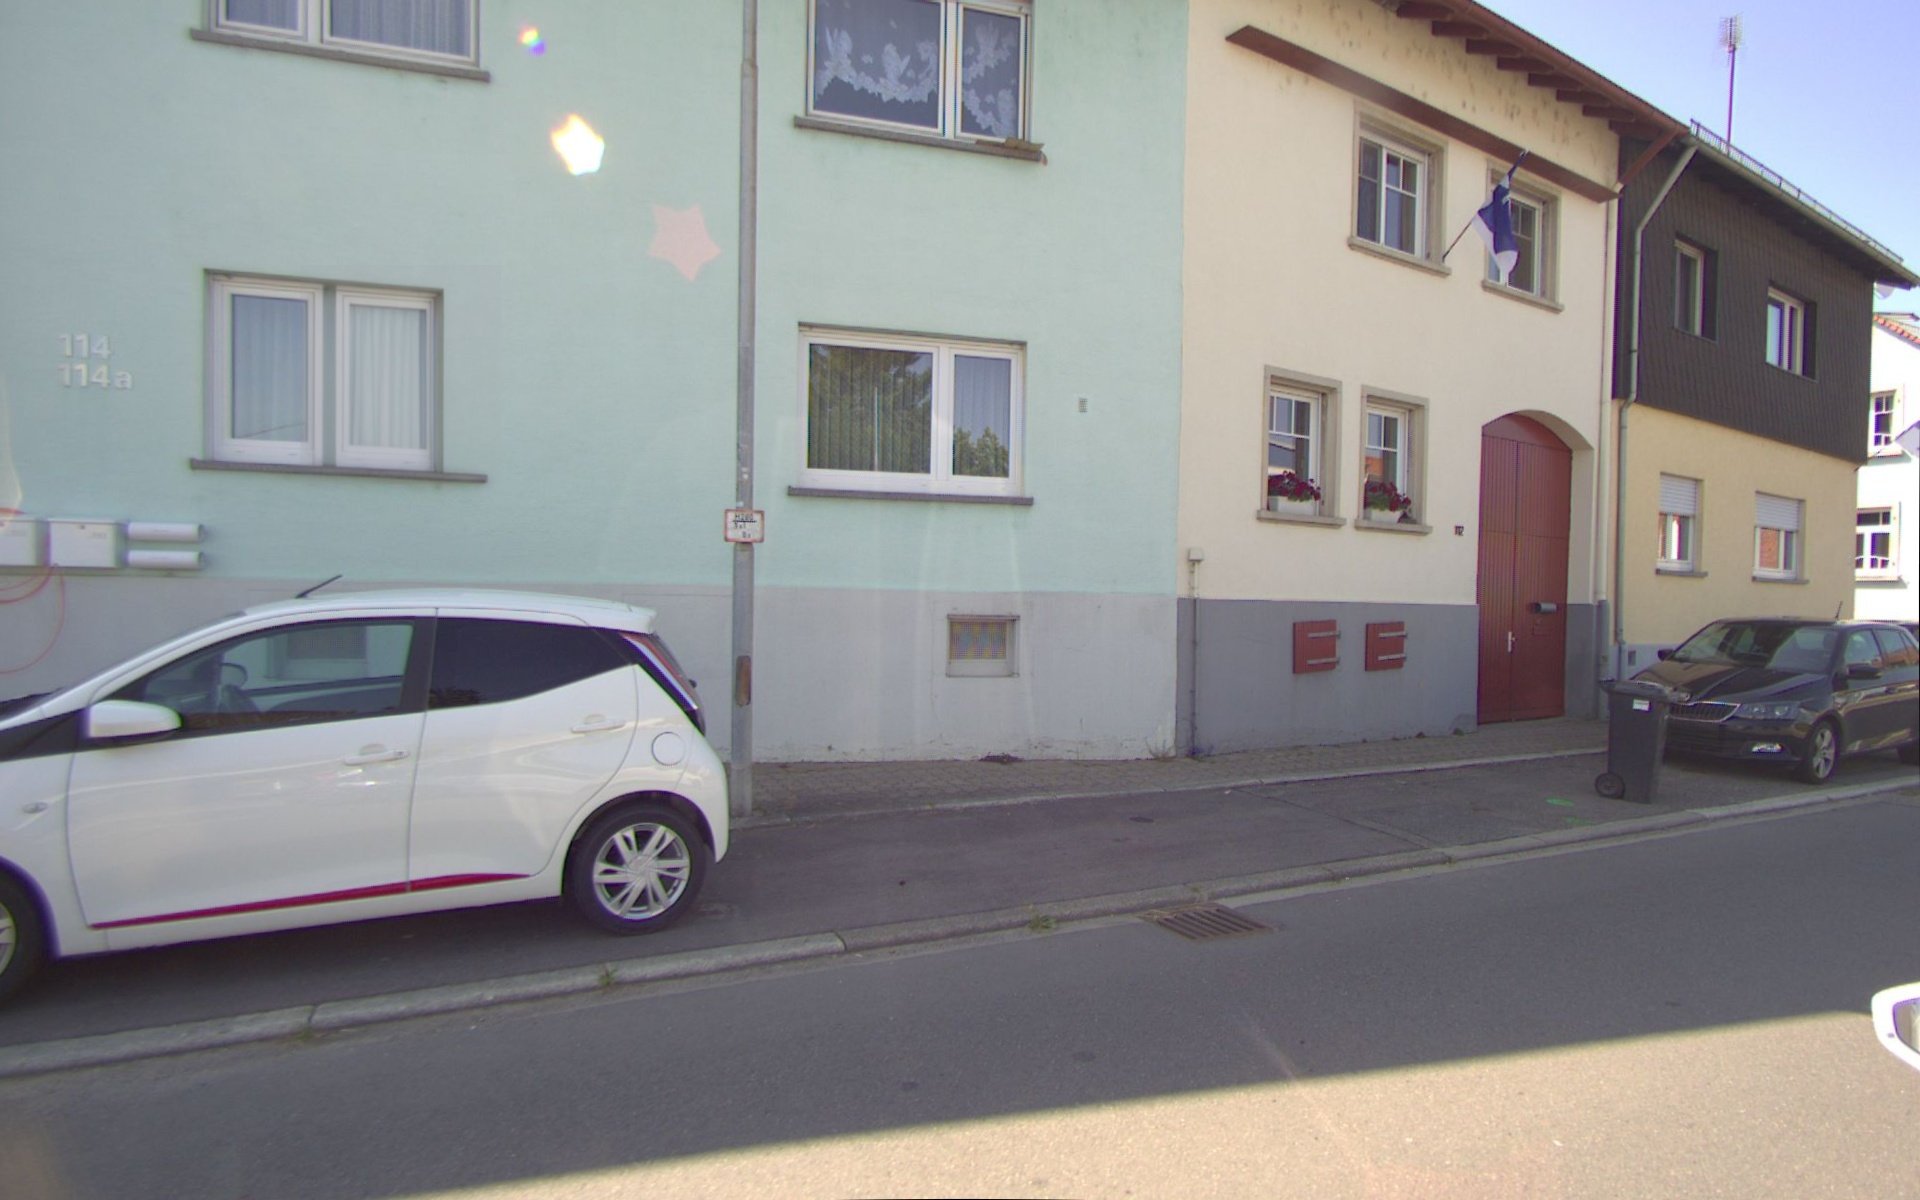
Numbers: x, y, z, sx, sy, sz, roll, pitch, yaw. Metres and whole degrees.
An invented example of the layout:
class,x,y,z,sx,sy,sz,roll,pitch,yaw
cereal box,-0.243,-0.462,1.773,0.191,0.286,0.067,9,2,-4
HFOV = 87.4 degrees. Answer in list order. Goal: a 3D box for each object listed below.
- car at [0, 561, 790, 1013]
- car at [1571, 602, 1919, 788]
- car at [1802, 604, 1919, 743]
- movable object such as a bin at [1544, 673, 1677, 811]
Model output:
class,x,y,z,sx,sy,sz,roll,pitch,yaw
car,-2.769,0.629,4.476,3.603,1.481,1.677,2,1,-28
car,8.232,0.864,10.206,3.948,1.456,1.670,2,4,-30
car,12.601,0.922,12.751,3.736,1.521,1.633,2,4,-30
movable object such as a bin,5.179,1.103,7.996,0.817,0.941,0.547,1,5,-35
